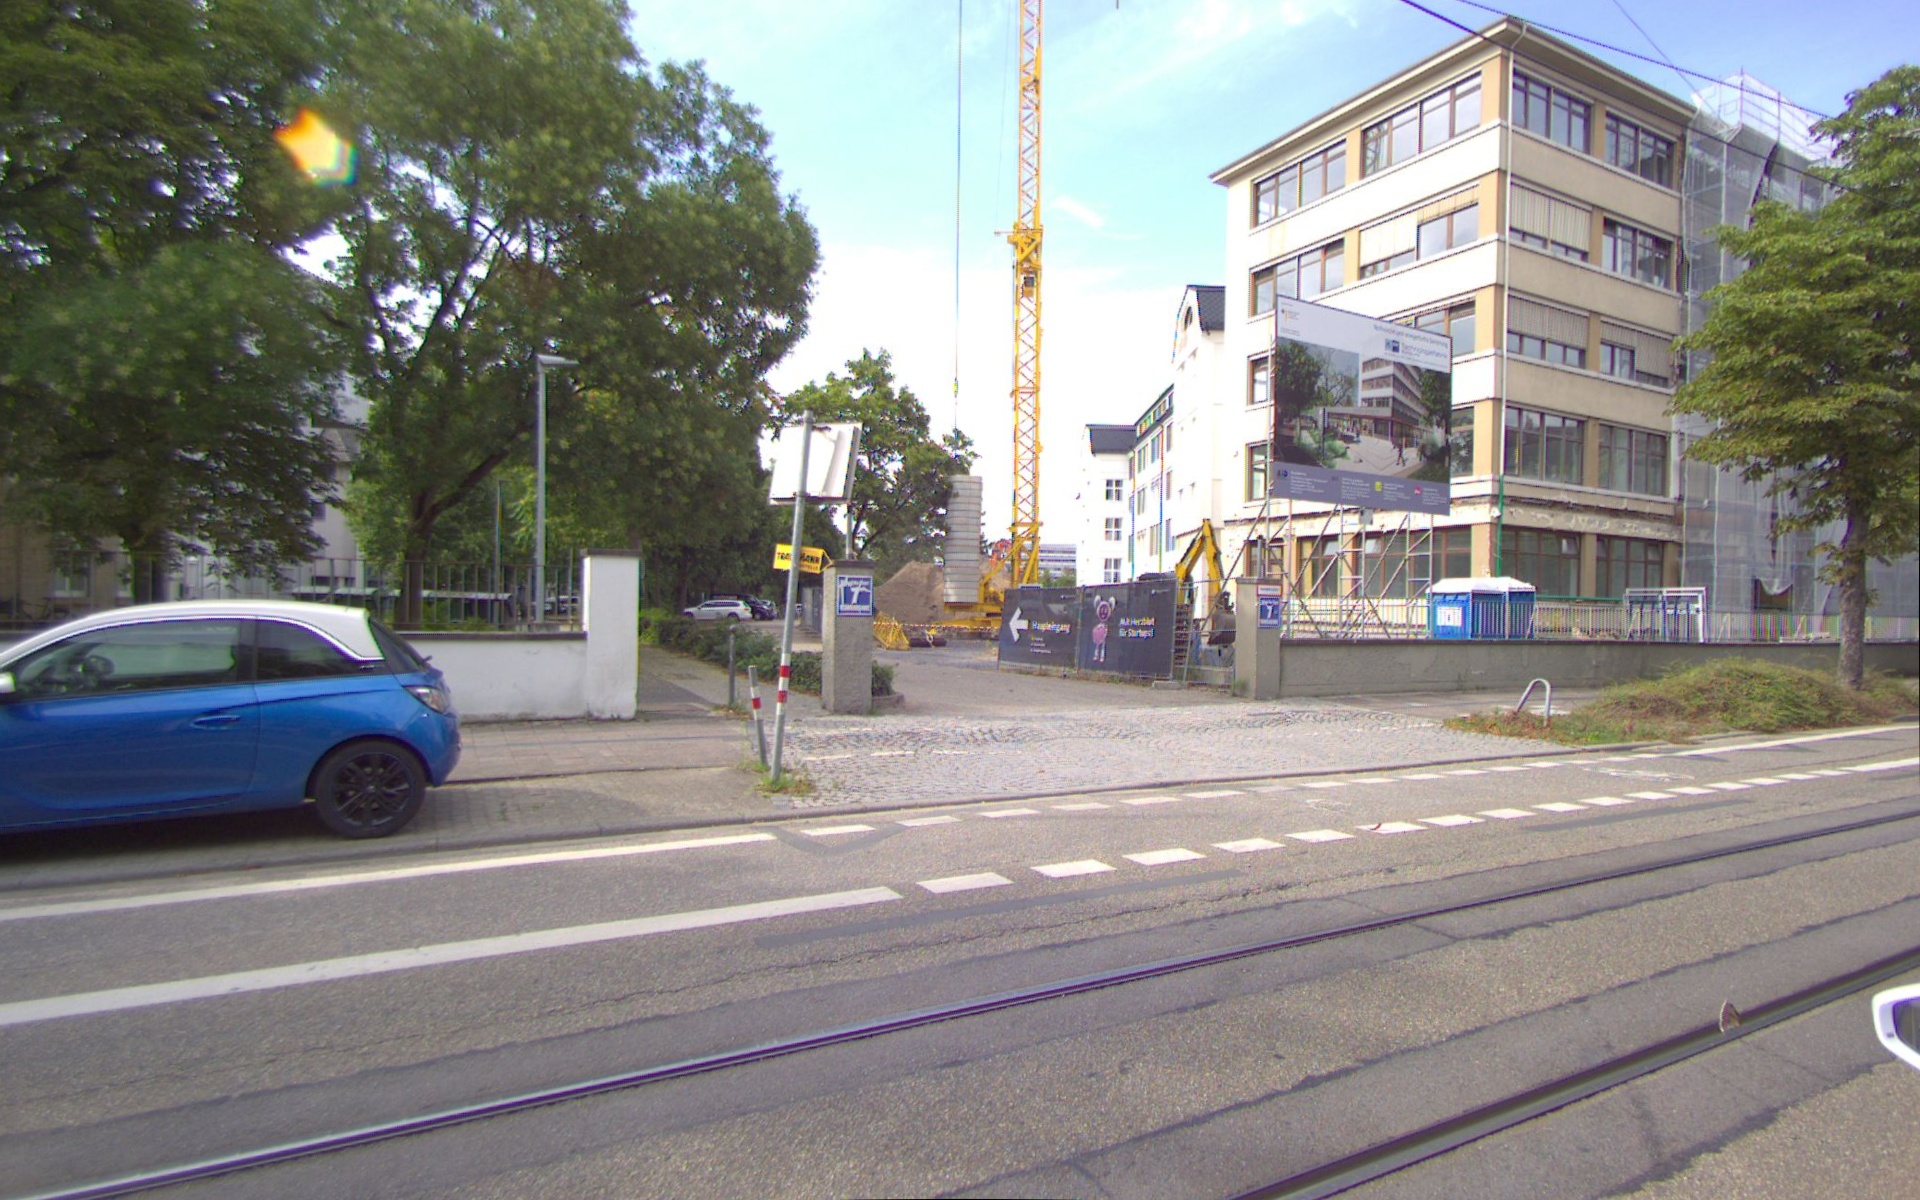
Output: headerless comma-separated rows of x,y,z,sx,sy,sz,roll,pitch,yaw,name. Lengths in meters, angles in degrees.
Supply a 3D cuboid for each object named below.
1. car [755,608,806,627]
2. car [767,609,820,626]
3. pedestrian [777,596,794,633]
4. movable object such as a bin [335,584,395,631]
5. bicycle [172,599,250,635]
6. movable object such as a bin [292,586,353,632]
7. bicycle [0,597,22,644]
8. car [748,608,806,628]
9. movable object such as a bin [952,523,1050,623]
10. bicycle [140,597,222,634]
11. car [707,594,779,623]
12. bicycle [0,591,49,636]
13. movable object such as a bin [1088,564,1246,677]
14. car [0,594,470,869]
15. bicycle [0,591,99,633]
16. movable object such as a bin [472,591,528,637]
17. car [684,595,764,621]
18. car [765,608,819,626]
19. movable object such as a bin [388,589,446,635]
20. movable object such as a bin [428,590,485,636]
-15.683,1.550,87.844,4.267,1.564,1.751,2,0,-7,car
-15.545,1.633,93.990,4.719,1.508,1.998,2,0,-7,car
-8.841,0.743,50.867,0.736,1.813,0.730,2,0,-7,pedestrian
-19.355,0.240,32.724,1.259,1.449,1.122,2,0,-1,movable object such as a bin
-23.552,0.525,31.603,1.940,1.057,0.594,2,0,-4,bicycle
-20.719,0.289,32.671,1.259,1.449,1.122,2,0,-1,movable object such as a bin
-23.277,0.457,23.547,1.940,1.057,0.594,2,0,-4,bicycle
-15.458,1.516,85.177,4.719,1.508,1.998,2,0,-7,car
3.246,-1.801,74.071,3.781,6.758,10.987,2,0,20,movable object such as a bin
-23.444,0.457,30.247,1.940,1.057,0.594,2,0,-4,bicycle
-16.182,0.630,75.084,4.964,1.979,1.999,2,0,-3,car
-23.356,0.311,24.328,1.940,1.057,0.594,2,0,-4,bicycle
4.868,0.477,24.002,2.459,2.475,3.048,2,0,-19,movable object such as a bin
-5.163,0.725,6.417,3.559,1.484,1.620,1,0,-30,car
-23.743,0.312,26.114,1.952,1.057,0.590,1,0,-27,bicycle
-14.927,0.457,32.648,1.259,1.449,1.122,2,0,-1,movable object such as a bin
-14.922,0.495,63.781,4.719,1.508,1.998,2,0,-7,car
-15.183,1.562,91.162,4.719,1.508,1.998,2,0,-7,car
-17.781,0.381,32.910,1.259,1.449,1.122,2,0,-1,movable object such as a bin
-16.443,0.422,32.825,1.259,1.449,1.122,2,0,-1,movable object such as a bin
